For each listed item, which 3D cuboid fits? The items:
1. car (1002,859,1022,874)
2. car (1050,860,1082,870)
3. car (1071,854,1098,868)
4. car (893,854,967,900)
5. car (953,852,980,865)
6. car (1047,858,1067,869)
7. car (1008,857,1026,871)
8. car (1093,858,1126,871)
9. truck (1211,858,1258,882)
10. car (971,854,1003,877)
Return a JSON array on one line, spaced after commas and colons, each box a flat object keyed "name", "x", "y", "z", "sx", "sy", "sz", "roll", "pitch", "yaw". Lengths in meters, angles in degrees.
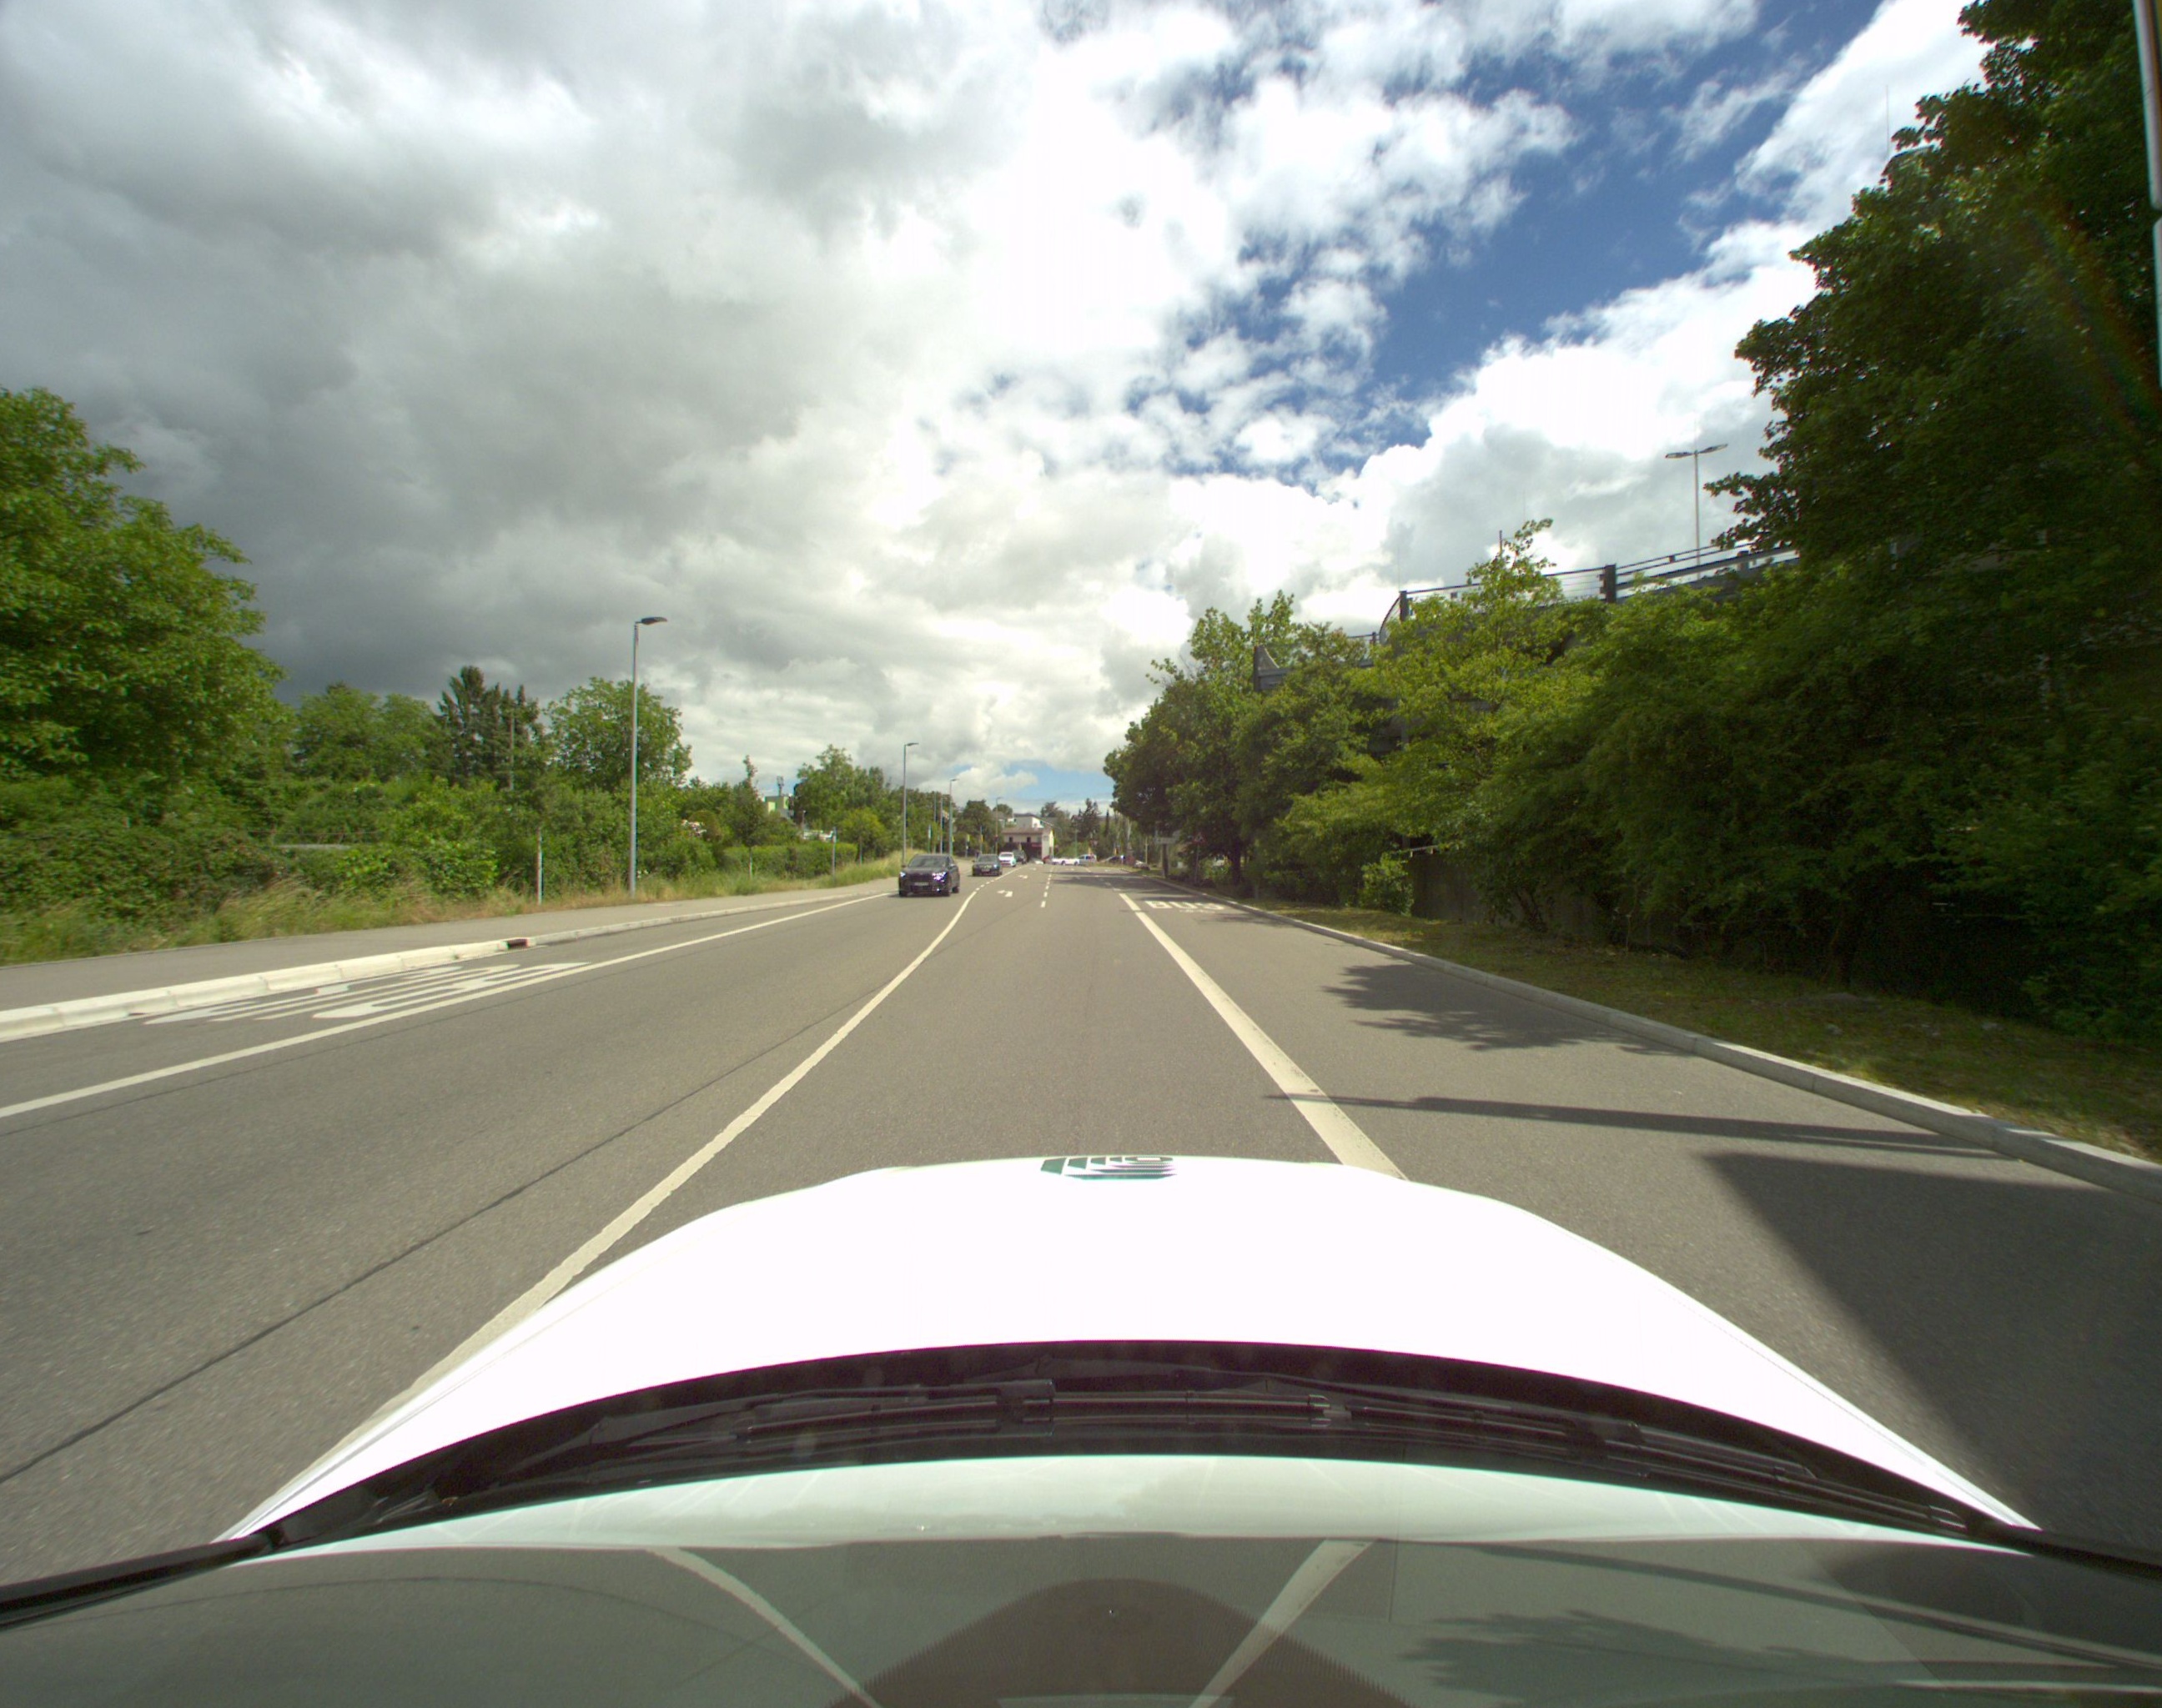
[{"name": "car", "x": -6.798, "y": 1.219, "z": 80.222, "sx": 1.762, "sy": 1.442, "sz": 3.896, "roll": -1, "pitch": 0, "yaw": -2}, {"name": "car", "x": -2.116, "y": 1.555, "z": 116.173, "sx": 1.886, "sy": 1.291, "sz": 4.638, "roll": -1, "pitch": -1, "yaw": 40}, {"name": "car", "x": 0.561, "y": 1.087, "z": 126.227, "sx": 3.971, "sy": 2.014, "sz": 2.001, "roll": -1, "pitch": -2, "yaw": 2}, {"name": "car", "x": -5.682, "y": 0.834, "z": 31.262, "sx": 1.816, "sy": 1.557, "sz": 4.631, "roll": -1, "pitch": 0, "yaw": 2}, {"name": "car", "x": -17.884, "y": 0.732, "z": 126.753, "sx": 3.990, "sy": 1.948, "sz": 1.991, "roll": -1, "pitch": -2, "yaw": -12}, {"name": "car", "x": -4.387, "y": 1.682, "z": 146.396, "sx": 1.912, "sy": 1.860, "sz": 3.771, "roll": 0, "pitch": -2, "yaw": -33}, {"name": "car", "x": -7.665, "y": 1.143, "z": 97.476, "sx": 1.816, "sy": 1.654, "sz": 4.531, "roll": -1, "pitch": 0, "yaw": -1}, {"name": "car", "x": 4.258, "y": 1.562, "z": 121.997, "sx": 4.833, "sy": 1.779, "sz": 1.770, "roll": 3, "pitch": -4, "yaw": -38}, {"name": "truck", "x": 24.213, "y": 2.473, "z": 128.623, "sx": 6.917, "sy": 3.579, "sz": 2.848, "roll": -1, "pitch": -2, "yaw": 2}, {"name": "car", "x": -6.175, "y": 0.733, "z": 54.006, "sx": 1.762, "sy": 1.442, "sz": 4.373, "roll": -1, "pitch": 0, "yaw": -2}]
